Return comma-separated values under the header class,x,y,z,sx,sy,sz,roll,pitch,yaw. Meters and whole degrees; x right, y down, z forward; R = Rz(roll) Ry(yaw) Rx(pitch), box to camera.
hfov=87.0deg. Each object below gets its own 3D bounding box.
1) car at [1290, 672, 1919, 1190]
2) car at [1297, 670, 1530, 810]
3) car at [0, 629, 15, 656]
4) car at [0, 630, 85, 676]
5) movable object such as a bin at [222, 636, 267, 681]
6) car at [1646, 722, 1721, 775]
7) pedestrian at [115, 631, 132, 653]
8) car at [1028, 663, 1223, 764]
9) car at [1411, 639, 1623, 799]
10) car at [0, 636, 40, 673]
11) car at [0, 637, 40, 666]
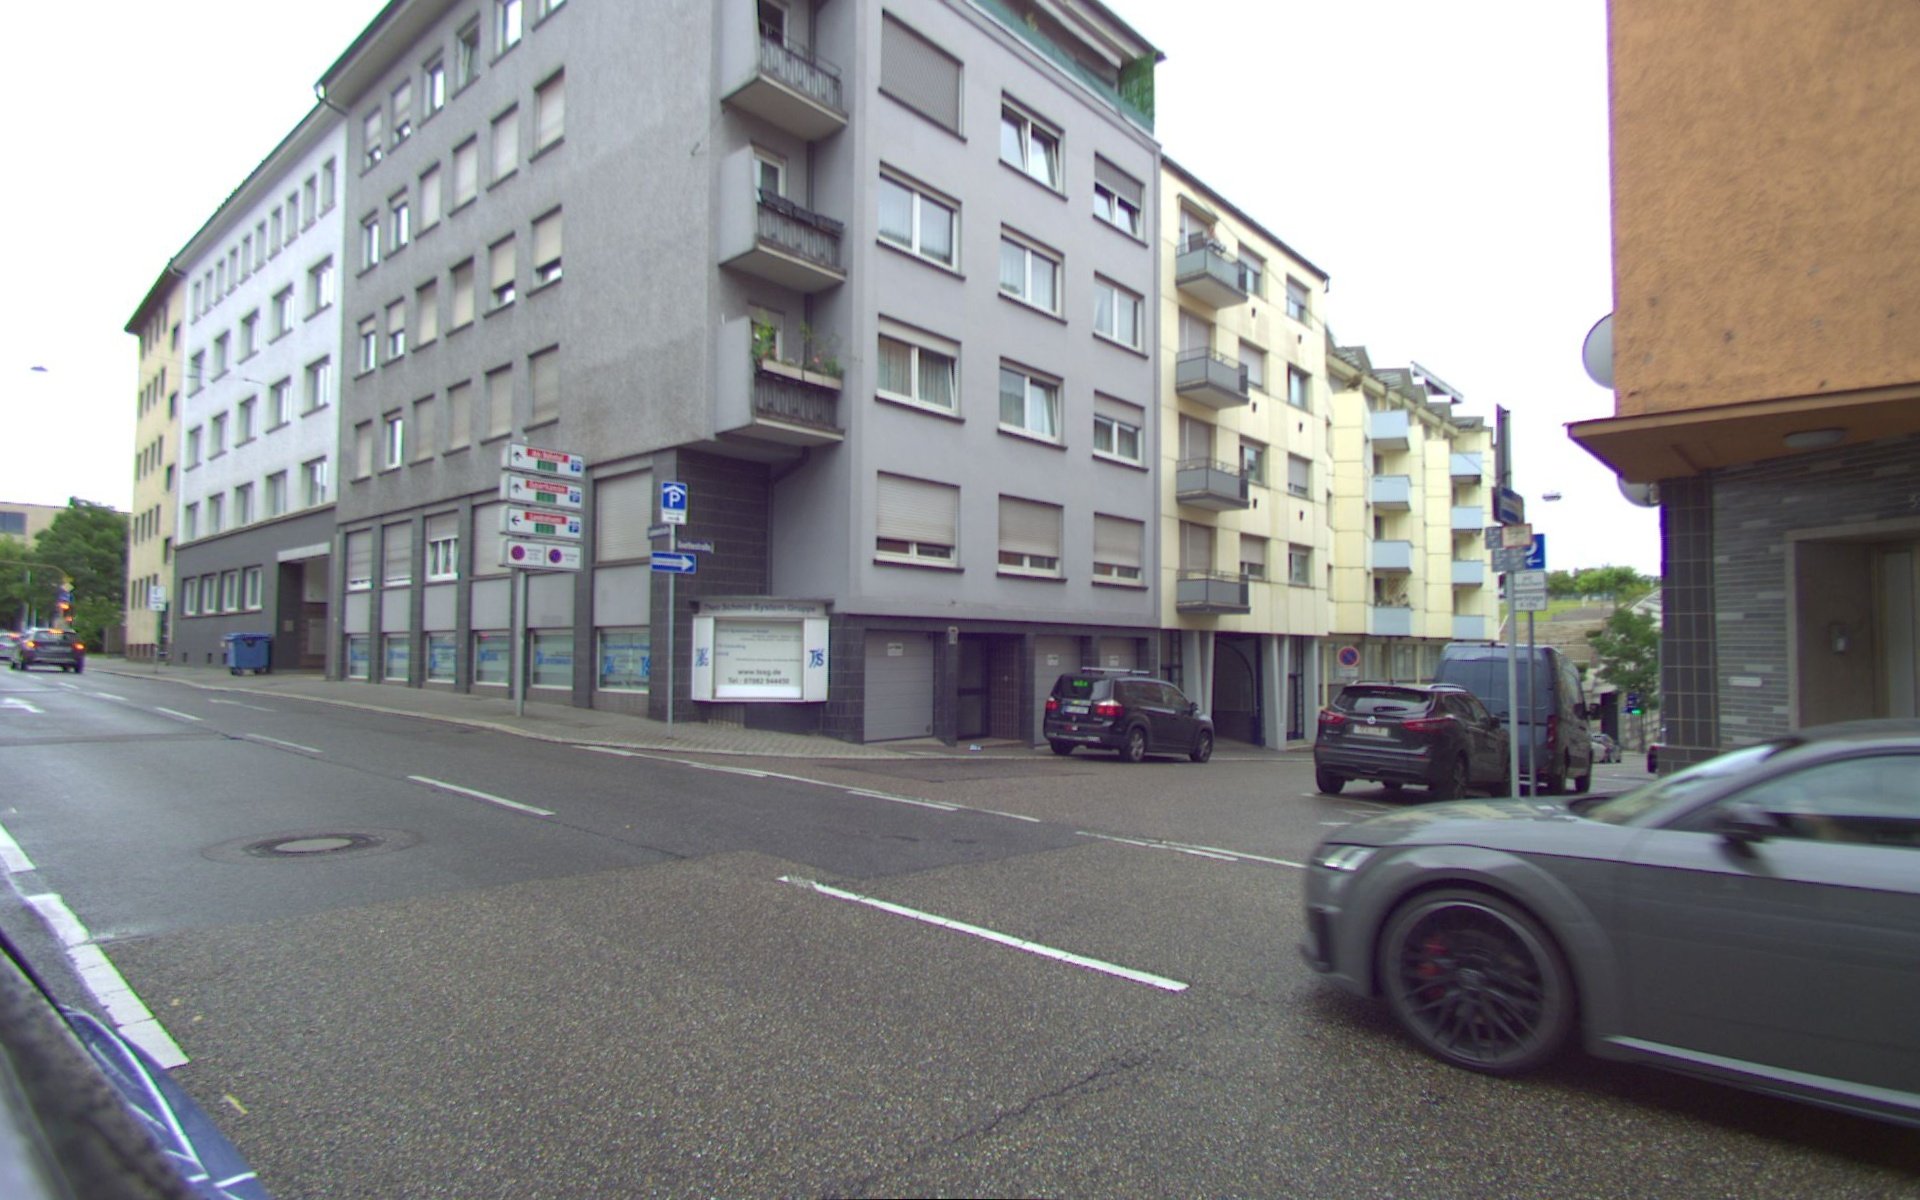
class,x,y,z,sx,sy,sz,roll,pitch,yaw
car,3.336,1.013,3.364,3.887,1.356,1.748,-1,-6,42
car,6.449,1.948,14.129,1.842,1.589,4.098,-1,-8,41
car,-55.775,2.452,56.656,1.767,1.505,3.954,-1,0,34
car,-33.276,1.892,36.672,4.157,1.519,1.685,-1,-5,41
movable object such as a bin,-22.900,1.850,32.385,1.096,1.343,0.933,-1,0,41
car,25.973,5.331,36.281,1.817,1.688,3.998,-1,-8,41
pedestrian,-46.246,2.311,55.964,0.407,1.158,0.575,-2,-6,42
car,3.363,2.280,19.942,1.794,1.700,4.186,-1,-8,41
car,10.543,2.220,18.873,2.249,2.481,5.975,-1,-7,41
car,-43.995,2.464,46.615,4.371,1.602,1.858,-1,-3,41
car,-57.436,3.090,61.373,3.998,1.695,1.972,-1,-4,41
